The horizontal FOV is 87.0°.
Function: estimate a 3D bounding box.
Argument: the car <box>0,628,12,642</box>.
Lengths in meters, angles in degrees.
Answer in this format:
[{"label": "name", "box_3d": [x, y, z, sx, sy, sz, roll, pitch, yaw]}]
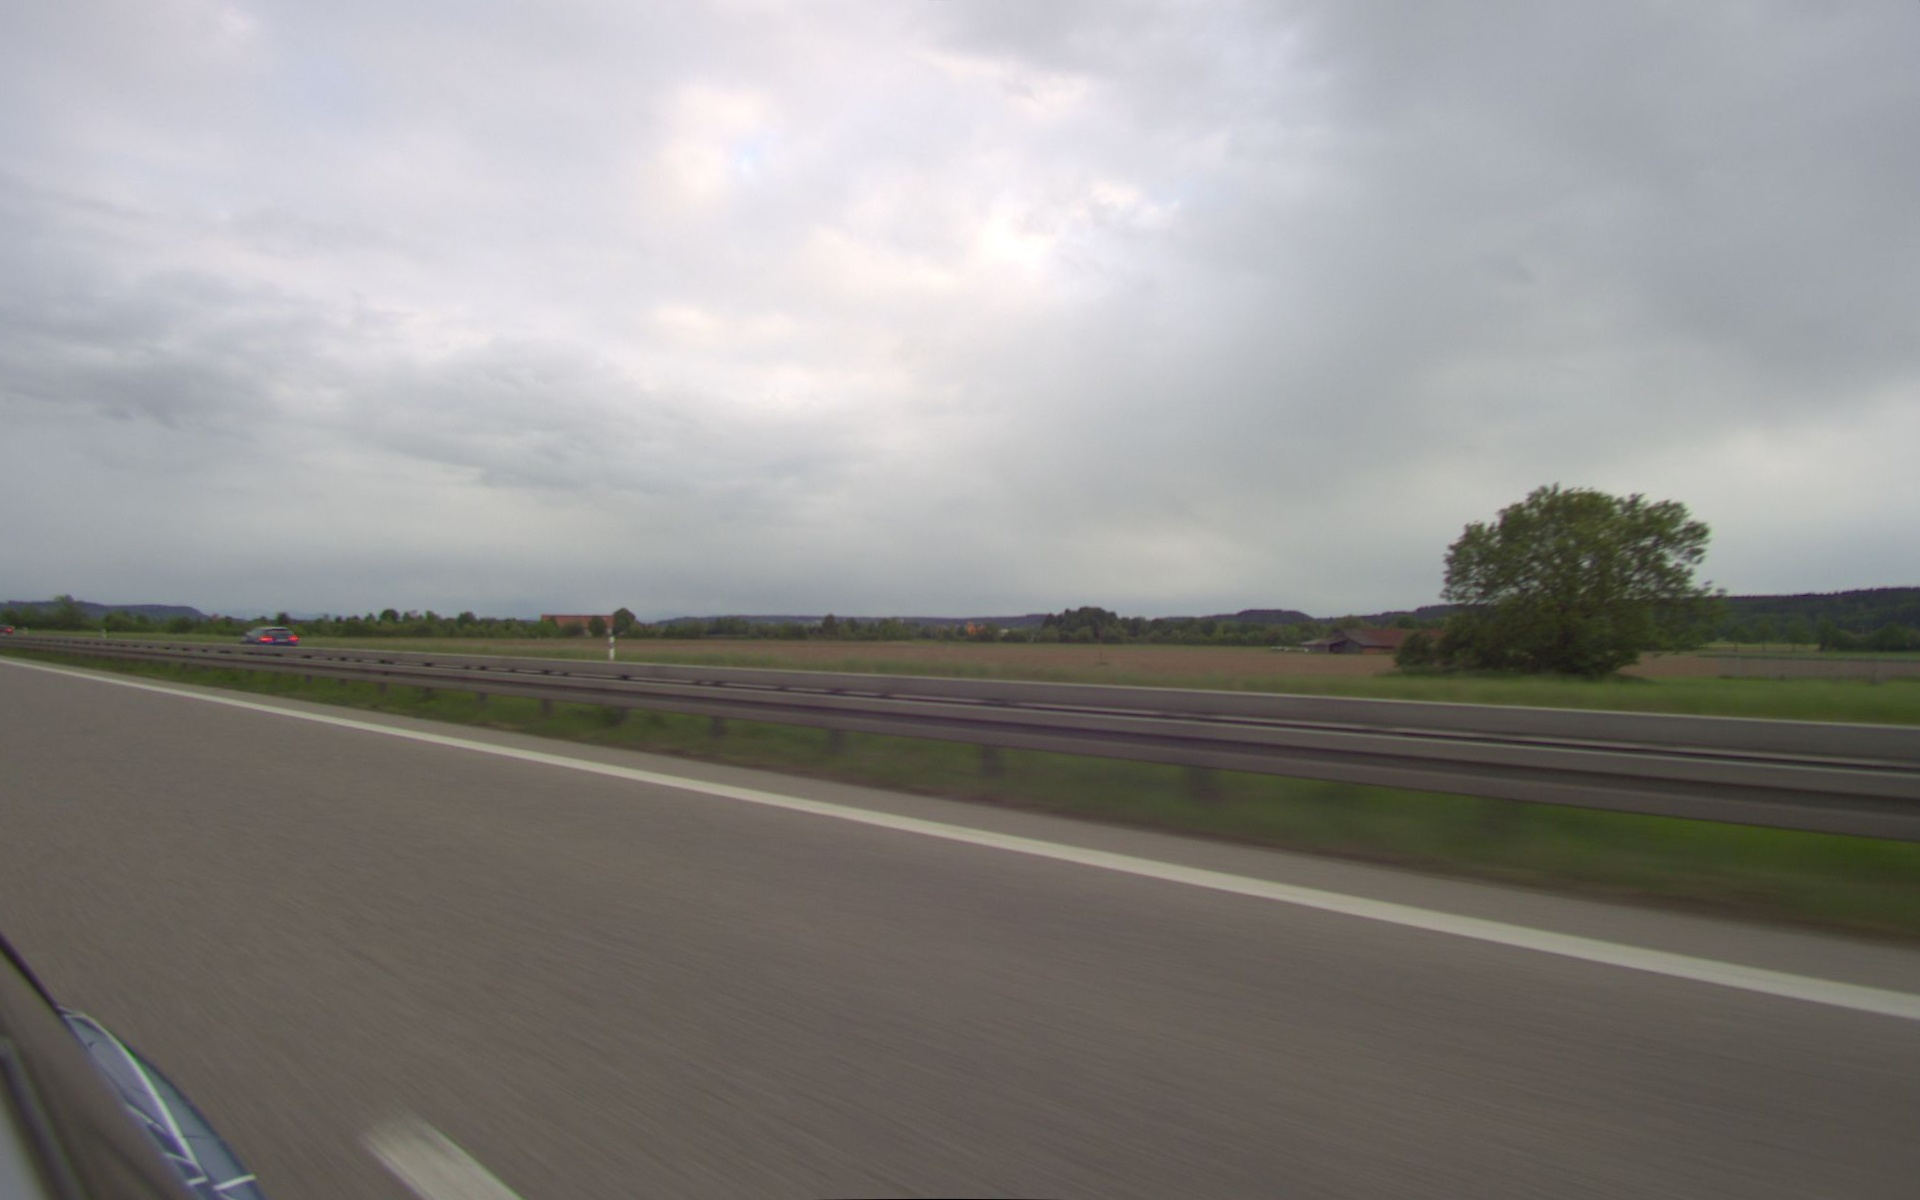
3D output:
[{"label": "car", "box_3d": [-111.180, 4.033, 116.895, 4.448, 1.491, 1.973, -1, -1, 40]}]

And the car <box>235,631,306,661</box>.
[{"label": "car", "box_3d": [-35.878, 2.360, 52.644, 4.521, 1.427, 1.973, -1, -1, 41]}]
